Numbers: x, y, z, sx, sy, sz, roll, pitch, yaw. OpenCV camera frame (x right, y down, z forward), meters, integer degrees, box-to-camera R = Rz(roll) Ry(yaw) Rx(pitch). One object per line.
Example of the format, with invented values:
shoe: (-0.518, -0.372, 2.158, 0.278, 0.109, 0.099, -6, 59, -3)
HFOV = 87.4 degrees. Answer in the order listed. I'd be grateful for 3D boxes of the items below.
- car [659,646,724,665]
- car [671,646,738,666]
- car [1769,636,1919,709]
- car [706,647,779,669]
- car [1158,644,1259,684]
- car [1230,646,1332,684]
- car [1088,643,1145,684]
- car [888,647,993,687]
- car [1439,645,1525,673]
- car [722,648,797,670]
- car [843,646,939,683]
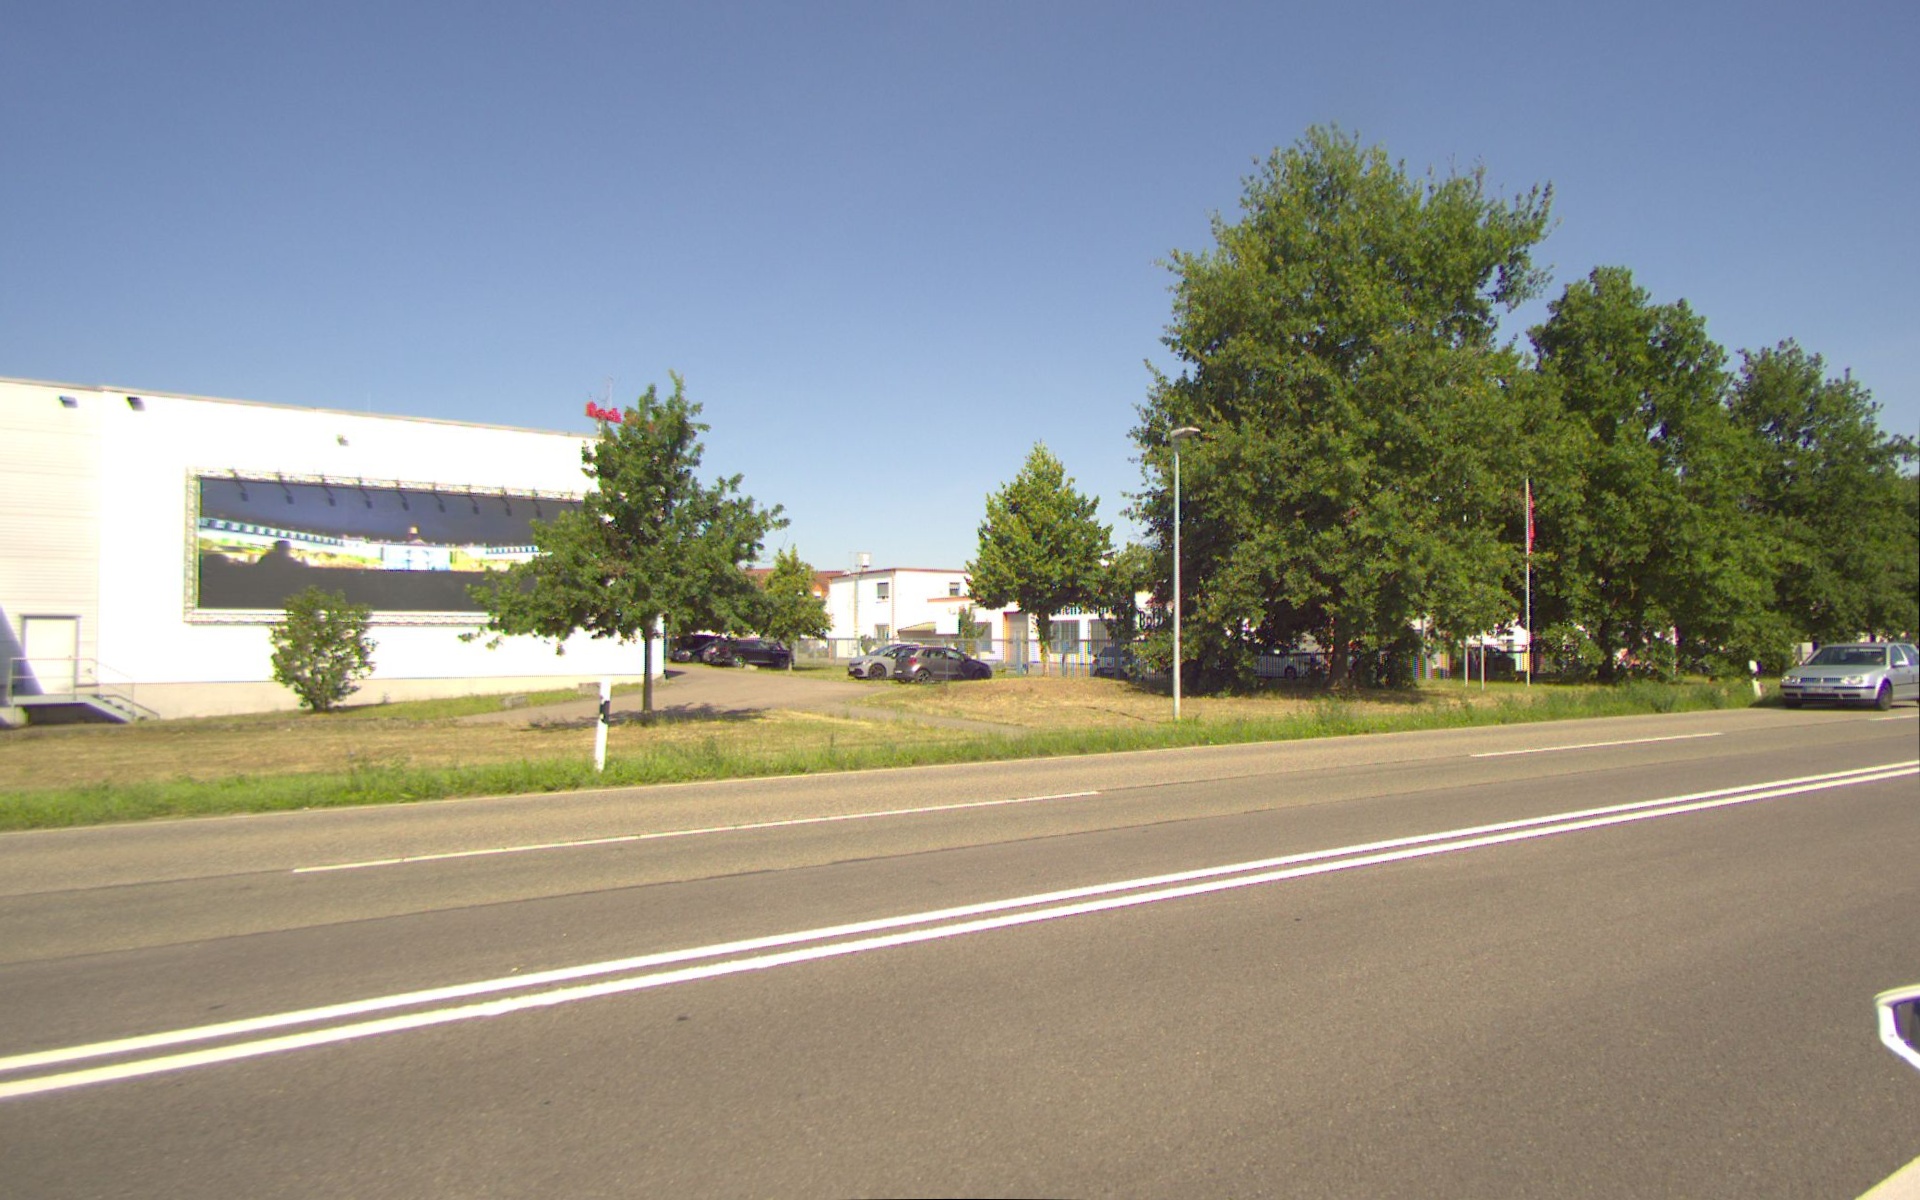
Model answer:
car: (-17.961, 3.717, 67.174, 3.897, 1.223, 1.629, 1, -3, -31)
car: (-16.515, 3.593, 64.967, 3.897, 1.223, 1.629, 1, -3, -31)
car: (19.531, 1.545, 21.897, 3.953, 1.460, 1.591, 1, -4, -30)
car: (-12.871, 3.411, 59.499, 3.897, 1.223, 1.629, 1, -3, -31)
car: (9.903, 2.520, 40.299, 1.737, 1.520, 3.970, 1, -3, -29)
car: (13.438, 2.698, 42.259, 1.737, 1.520, 3.970, 1, -3, -29)
car: (6.338, 2.508, 40.273, 1.706, 1.520, 4.002, -1, -3, 17)
car: (-0.711, 2.490, 37.935, 3.679, 1.408, 1.629, 1, -3, -31)
car: (26.591, 2.976, 51.140, 4.612, 1.367, 1.778, 2, -4, -33)
car: (-11.452, 3.357, 57.520, 3.897, 1.223, 1.629, 1, -3, -31)
car: (-2.864, 2.660, 41.891, 3.679, 1.429, 1.629, 1, -3, -31)
